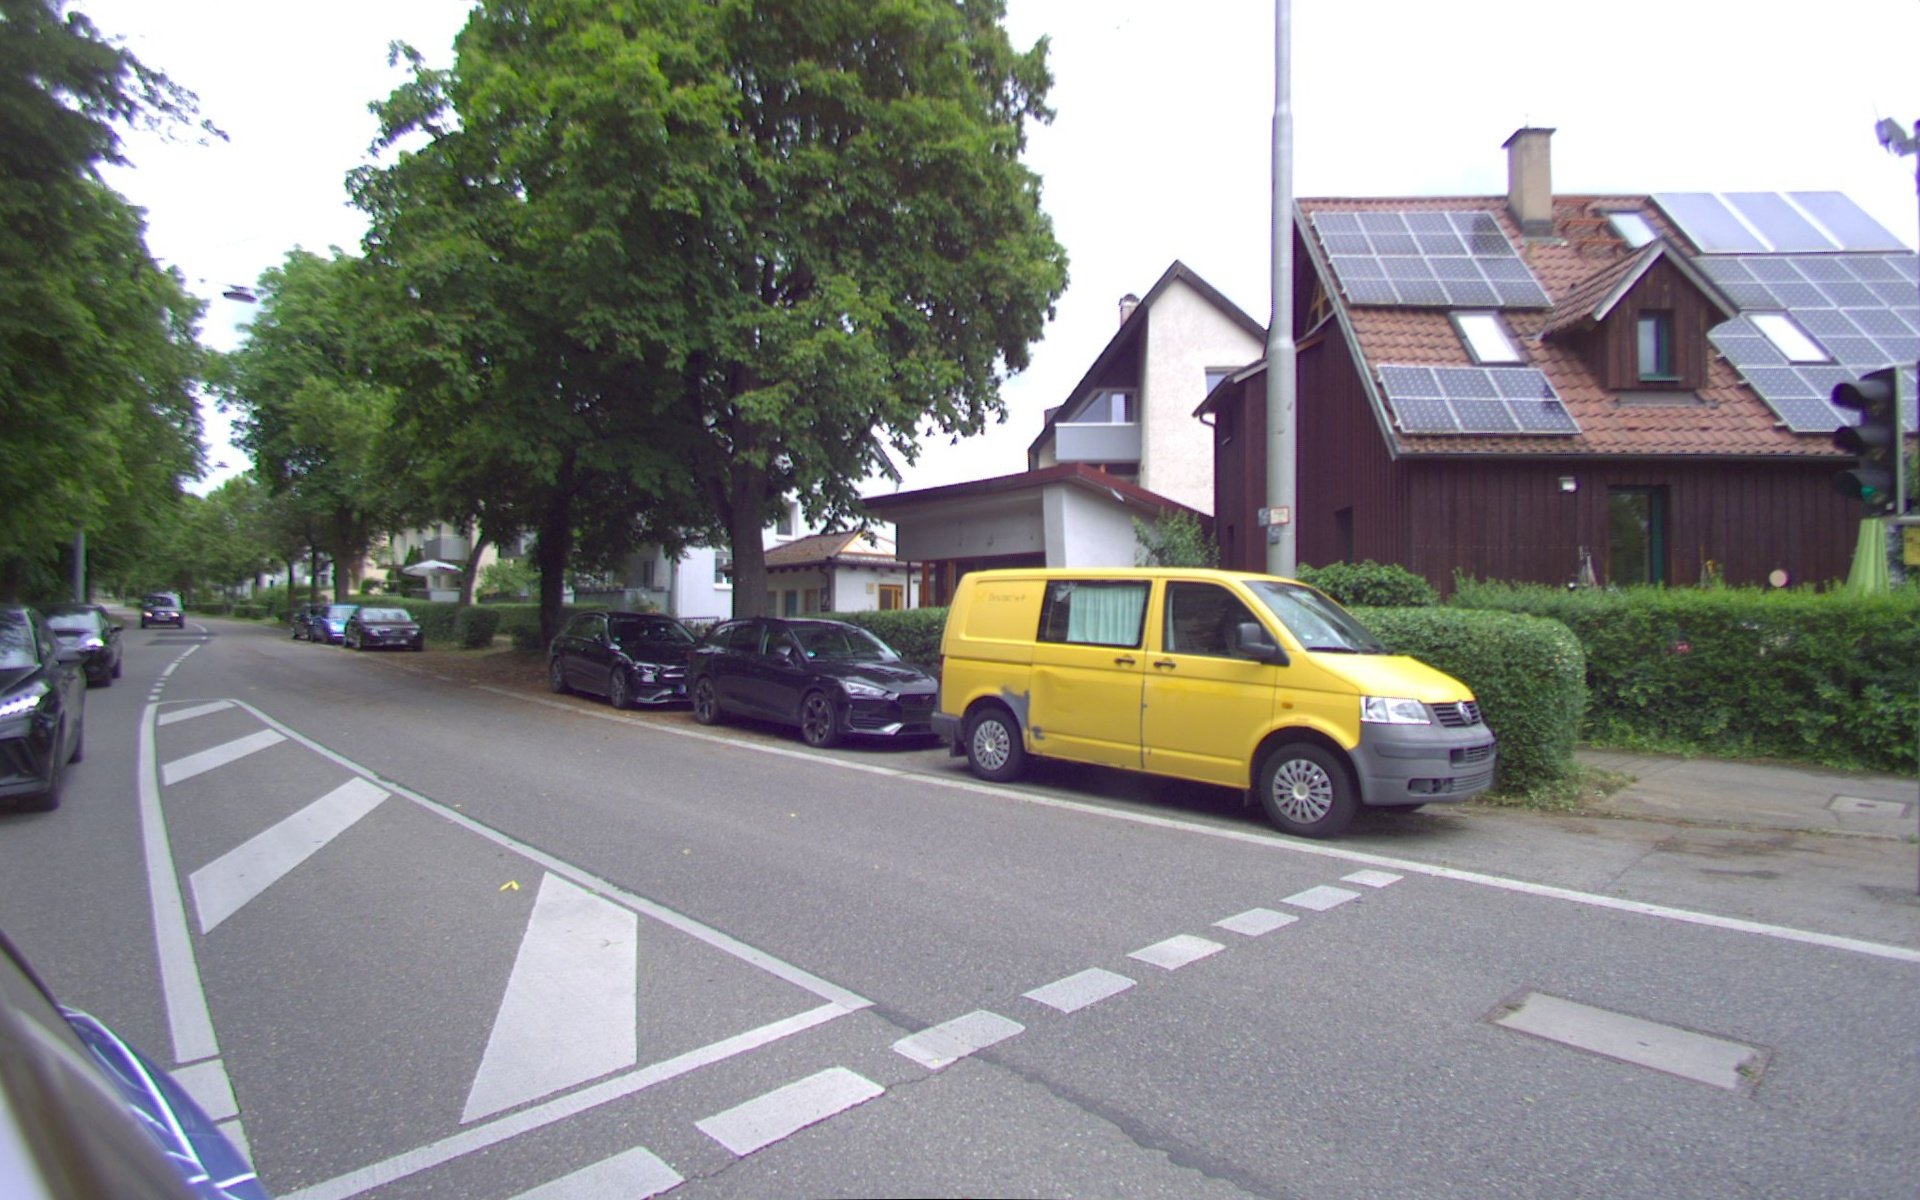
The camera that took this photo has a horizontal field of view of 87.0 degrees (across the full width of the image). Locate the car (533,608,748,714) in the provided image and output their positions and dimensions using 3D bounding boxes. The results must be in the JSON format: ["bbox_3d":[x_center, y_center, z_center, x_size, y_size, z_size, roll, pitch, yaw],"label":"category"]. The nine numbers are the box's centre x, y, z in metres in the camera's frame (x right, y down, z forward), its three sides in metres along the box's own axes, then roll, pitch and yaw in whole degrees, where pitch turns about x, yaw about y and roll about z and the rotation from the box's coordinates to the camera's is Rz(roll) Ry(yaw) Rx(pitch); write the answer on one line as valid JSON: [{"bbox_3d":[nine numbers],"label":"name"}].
[{"bbox_3d":[-5.349,0.899,16.538,1.723,1.461,4.601,3,-2,-40],"label":"car"}]

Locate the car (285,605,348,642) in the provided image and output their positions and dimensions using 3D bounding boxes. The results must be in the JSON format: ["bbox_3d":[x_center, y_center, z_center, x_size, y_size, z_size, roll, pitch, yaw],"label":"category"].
[{"bbox_3d":[-25.422,0.939,39.956,1.517,1.387,3.777,3,-2,-41],"label":"car"}]

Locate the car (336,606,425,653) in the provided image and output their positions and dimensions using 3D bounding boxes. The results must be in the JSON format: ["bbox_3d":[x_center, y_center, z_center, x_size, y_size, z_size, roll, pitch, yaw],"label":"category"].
[{"bbox_3d":[-18.653,0.944,32.478,1.823,1.387,4.603,3,-2,-38],"label":"car"}]

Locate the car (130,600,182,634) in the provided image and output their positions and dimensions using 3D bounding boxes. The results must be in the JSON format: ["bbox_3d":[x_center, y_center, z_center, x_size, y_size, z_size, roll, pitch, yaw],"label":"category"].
[{"bbox_3d":[-40.957,0.866,51.544,1.968,1.607,4.008,3,-2,-39],"label":"car"}]

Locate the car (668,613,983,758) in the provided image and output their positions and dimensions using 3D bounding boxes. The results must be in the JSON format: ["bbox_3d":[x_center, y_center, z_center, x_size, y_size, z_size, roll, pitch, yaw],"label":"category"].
[{"bbox_3d":[-1.876,0.938,12.810,1.723,1.461,4.520,3,-2,-41],"label":"car"}]

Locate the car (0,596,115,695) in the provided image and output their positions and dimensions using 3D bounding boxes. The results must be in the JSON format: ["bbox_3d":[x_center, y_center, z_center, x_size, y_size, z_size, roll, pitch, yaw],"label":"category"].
[{"bbox_3d":[-16.403,0.744,18.105,1.786,1.541,4.008,2,-1,-38],"label":"car"}]

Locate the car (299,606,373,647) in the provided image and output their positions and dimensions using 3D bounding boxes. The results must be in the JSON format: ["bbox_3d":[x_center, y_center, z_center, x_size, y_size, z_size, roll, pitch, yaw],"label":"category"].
[{"bbox_3d":[-22.702,0.959,36.754,1.613,1.387,4.158,3,-2,-41],"label":"car"}]

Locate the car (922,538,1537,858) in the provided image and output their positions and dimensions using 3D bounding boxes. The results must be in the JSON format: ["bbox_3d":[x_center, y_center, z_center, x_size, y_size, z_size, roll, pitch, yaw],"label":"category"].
[{"bbox_3d":[2.027,0.649,8.709,4.802,2.004,1.895,0,-2,44],"label":"car"}]

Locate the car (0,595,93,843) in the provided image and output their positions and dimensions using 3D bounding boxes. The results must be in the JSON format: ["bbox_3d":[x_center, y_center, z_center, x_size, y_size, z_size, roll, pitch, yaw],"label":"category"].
[{"bbox_3d":[-7.895,0.733,7.667,1.776,1.562,4.307,2,-1,-38],"label":"car"}]
